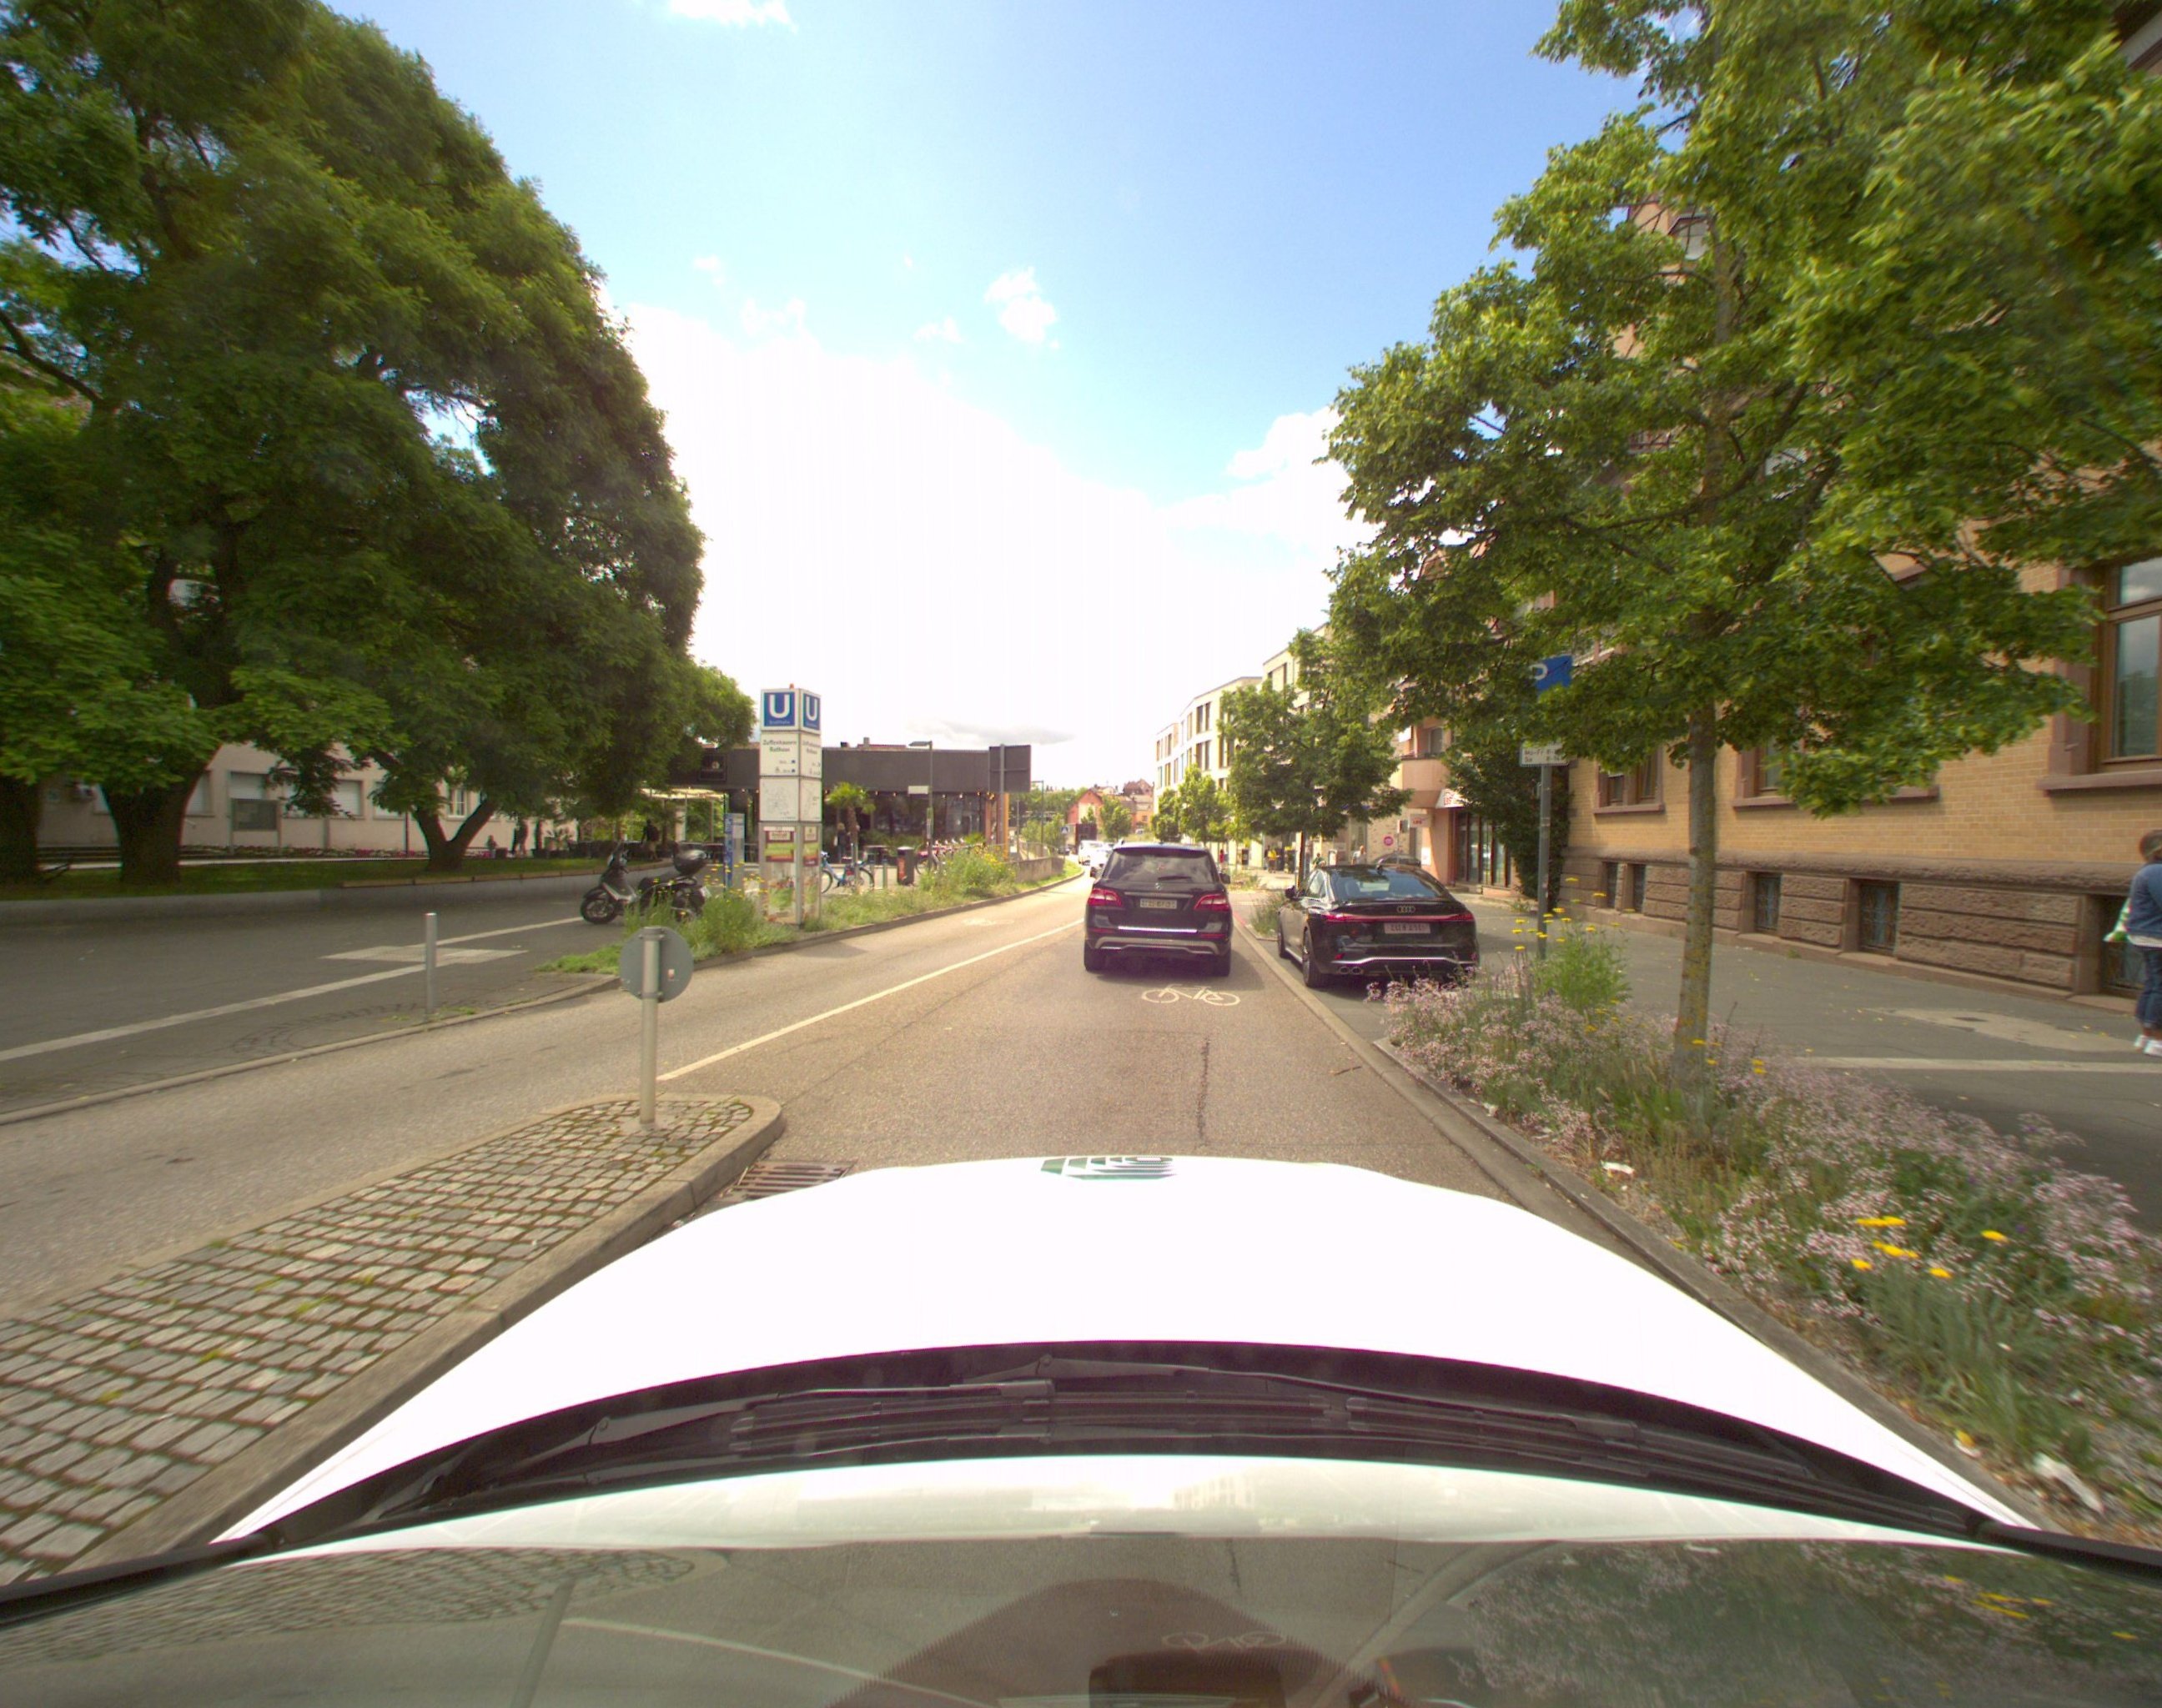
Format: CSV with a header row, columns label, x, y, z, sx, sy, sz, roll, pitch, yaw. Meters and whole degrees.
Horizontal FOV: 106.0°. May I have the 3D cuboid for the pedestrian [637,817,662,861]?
label,x,y,z,sx,sy,sz,roll,pitch,yaw
pedestrian,-15.750,-0.540,29.732,0.611,1.577,0.583,0,0,2

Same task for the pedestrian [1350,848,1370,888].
label,x,y,z,sx,sy,sz,roll,pitch,yaw
pedestrian,11.464,0.553,33.495,0.629,1.626,0.700,0,0,3

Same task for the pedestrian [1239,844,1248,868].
label,x,y,z,sx,sy,sz,roll,pitch,yaw
pedestrian,11.515,0.153,57.782,0.556,1.682,0.569,0,0,3

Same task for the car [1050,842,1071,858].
label,x,y,z,sx,sy,sz,roll,pitch,yaw
car,-2.362,-0.474,92.434,1.839,1.607,3.990,2,1,-8

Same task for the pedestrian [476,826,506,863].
label,x,y,z,sx,sy,sz,roll,pitch,yaw
pedestrian,-25.141,-0.398,34.699,0.631,1.577,0.790,0,0,6

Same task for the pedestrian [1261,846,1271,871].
label,x,y,z,sx,sy,sz,roll,pitch,yaw
pedestrian,12.500,0.292,55.014,0.556,1.682,0.569,0,0,3

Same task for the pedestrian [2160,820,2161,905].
label,x,y,z,sx,sy,sz,roll,pitch,yaw
pedestrian,7.720,0.577,5.317,0.554,1.629,0.672,-1,-1,-22

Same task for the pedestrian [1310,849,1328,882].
label,x,y,z,sx,sy,sz,roll,pitch,yaw
pedestrian,11.473,0.559,39.242,0.708,1.563,0.569,0,0,3

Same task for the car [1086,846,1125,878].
label,x,y,z,sx,sy,sz,roll,pitch,yaw
car,1.387,0.394,44.557,1.832,1.608,4.005,3,1,4

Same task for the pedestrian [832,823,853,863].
label,x,y,z,sx,sy,sz,roll,pitch,yaw
pedestrian,-9.920,-0.460,33.826,0.608,1.618,0.586,0,0,41

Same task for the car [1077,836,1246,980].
label,x,y,z,sx,sy,sz,roll,pitch,yaw
car,1.208,0.658,12.065,2.017,1.727,4.441,-1,0,6

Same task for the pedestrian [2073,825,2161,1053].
label,x,y,z,sx,sy,sz,roll,pitch,yaw
pedestrian,7.888,0.604,6.017,0.500,1.629,0.513,-1,-1,21

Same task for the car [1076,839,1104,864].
label,x,y,z,sx,sy,sz,roll,pitch,yaw
car,0.688,-0.228,66.824,1.838,1.858,4.490,3,1,-5

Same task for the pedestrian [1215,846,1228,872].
label,x,y,z,sx,sy,sz,roll,pitch,yaw
pedestrian,9.163,0.293,52.986,0.663,1.682,0.566,0,0,-12

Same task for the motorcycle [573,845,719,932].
label,x,y,z,sx,sy,sz,roll,pitch,yaw
motorcycle,-6.999,0.533,13.124,2.120,1.289,0.584,1,3,8

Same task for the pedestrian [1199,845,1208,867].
label,x,y,z,sx,sy,sz,roll,pitch,yaw
pedestrian,9.818,0.155,65.270,0.560,1.682,0.565,0,0,-16

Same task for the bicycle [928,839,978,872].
label,x,y,z,sx,sy,sz,roll,pitch,yaw
bicycle,-4.336,0.050,27.549,1.560,1.091,0.579,0,0,6

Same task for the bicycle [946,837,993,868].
label,x,y,z,sx,sy,sz,roll,pitch,yaw
bicycle,-4.018,-0.062,29.344,1.560,1.091,0.579,0,0,6

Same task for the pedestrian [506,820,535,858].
label,x,y,z,sx,sy,sz,roll,pitch,yaw
pedestrian,-24.014,-0.630,34.920,0.782,1.627,0.637,0,0,5

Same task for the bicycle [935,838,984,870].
label,x,y,z,sx,sy,sz,roll,pitch,yaw
bicycle,-4.238,-0.007,28.429,1.560,1.091,0.579,0,0,6

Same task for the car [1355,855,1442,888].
label,x,y,z,sx,sy,sz,roll,pitch,yaw
car,16.936,0.918,43.596,3.968,1.566,1.849,3,1,5

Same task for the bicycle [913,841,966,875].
label,x,y,z,sx,sy,sz,roll,pitch,yaw
bicycle,-4.489,0.120,25.931,1.560,1.091,0.579,0,0,6

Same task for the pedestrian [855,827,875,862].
label,x,y,z,sx,sy,sz,roll,pitch,yaw
pedestrian,-9.205,-0.390,34.747,0.577,1.463,0.618,0,0,14

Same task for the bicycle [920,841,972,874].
label,x,y,z,sx,sy,sz,roll,pitch,yaw
bicycle,-4.421,0.117,26.700,1.560,1.069,0.540,0,0,6

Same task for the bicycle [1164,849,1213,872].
label,x,y,z,sx,sy,sz,roll,pitch,yaw
bicycle,6.919,0.427,52.447,3.048,1.486,0.710,0,0,1

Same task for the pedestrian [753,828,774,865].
label,x,y,z,sx,sy,sz,roll,pitch,yaw
pedestrian,-12.291,-0.291,31.517,0.580,1.379,0.615,0,0,-6

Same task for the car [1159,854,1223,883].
label,x,y,z,sx,sy,sz,roll,pitch,yaw
car,5.726,0.723,42.134,1.593,1.383,3.861,0,1,37

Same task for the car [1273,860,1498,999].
label,x,y,z,sx,sy,sz,roll,pitch,yaw
car,3.707,0.810,10.755,1.846,1.406,4.384,-1,0,7

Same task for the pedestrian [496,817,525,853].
label,x,y,z,sx,sy,sz,roll,pitch,yaw
pedestrian,-25.035,-0.827,35.732,0.782,1.577,0.637,0,0,5

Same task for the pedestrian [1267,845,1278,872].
label,x,y,z,sx,sy,sz,roll,pitch,yaw
pedestrian,12.355,0.296,52.480,0.556,1.691,0.639,0,0,3

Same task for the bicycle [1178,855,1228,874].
label,x,y,z,sx,sy,sz,roll,pitch,yaw
bicycle,7.608,0.631,51.029,3.048,1.146,0.710,0,0,1

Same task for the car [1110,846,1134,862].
label,x,y,z,sx,sy,sz,roll,pitch,yaw
car,3.579,-0.045,71.784,1.606,1.383,3.830,0,0,-5

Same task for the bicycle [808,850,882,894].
label,x,y,z,sx,sy,sz,roll,pitch,yaw
bicycle,-5.520,0.406,19.084,1.600,0.997,0.502,0,0,12
